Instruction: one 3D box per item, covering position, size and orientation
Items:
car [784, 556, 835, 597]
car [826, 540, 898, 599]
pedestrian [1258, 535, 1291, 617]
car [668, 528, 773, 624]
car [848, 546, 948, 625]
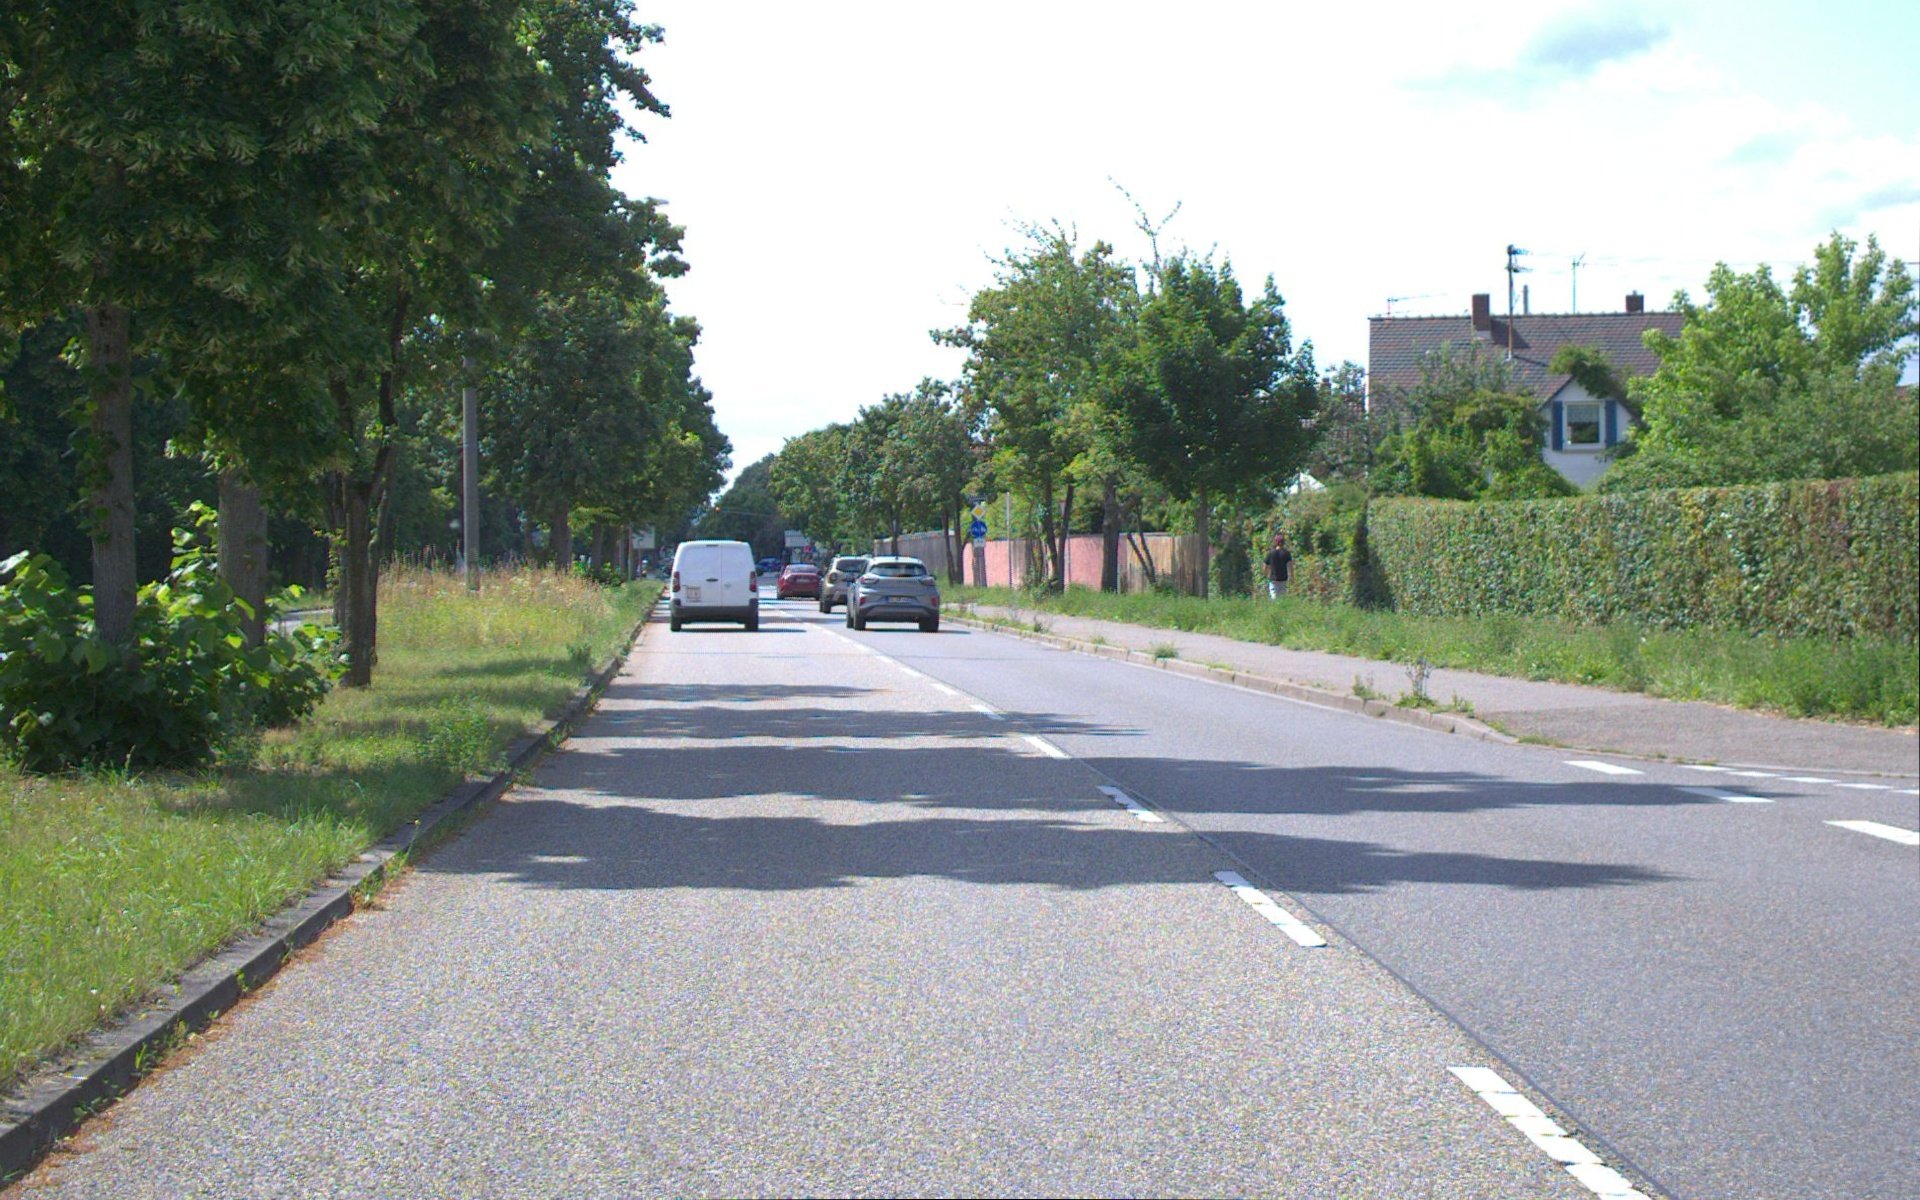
[{"bbox_3d":[-5.990,-0.938,136.796,1.880,1.581,4.001,0,1,-4],"label":"car"},{"bbox_3d":[-2.823,-0.882,98.501,1.875,1.646,4.001,0,1,-4],"label":"car"},{"bbox_3d":[6.461,-0.499,70.678,0.560,1.671,0.634,0,1,-5],"label":"pedestrian"},{"bbox_3d":[-4.937,-0.514,70.541,2.065,1.905,4.647,0,1,-4],"label":"car"},{"bbox_3d":[-1.337,-0.320,72.375,1.875,1.583,4.185,0,1,-4],"label":"car"}]
